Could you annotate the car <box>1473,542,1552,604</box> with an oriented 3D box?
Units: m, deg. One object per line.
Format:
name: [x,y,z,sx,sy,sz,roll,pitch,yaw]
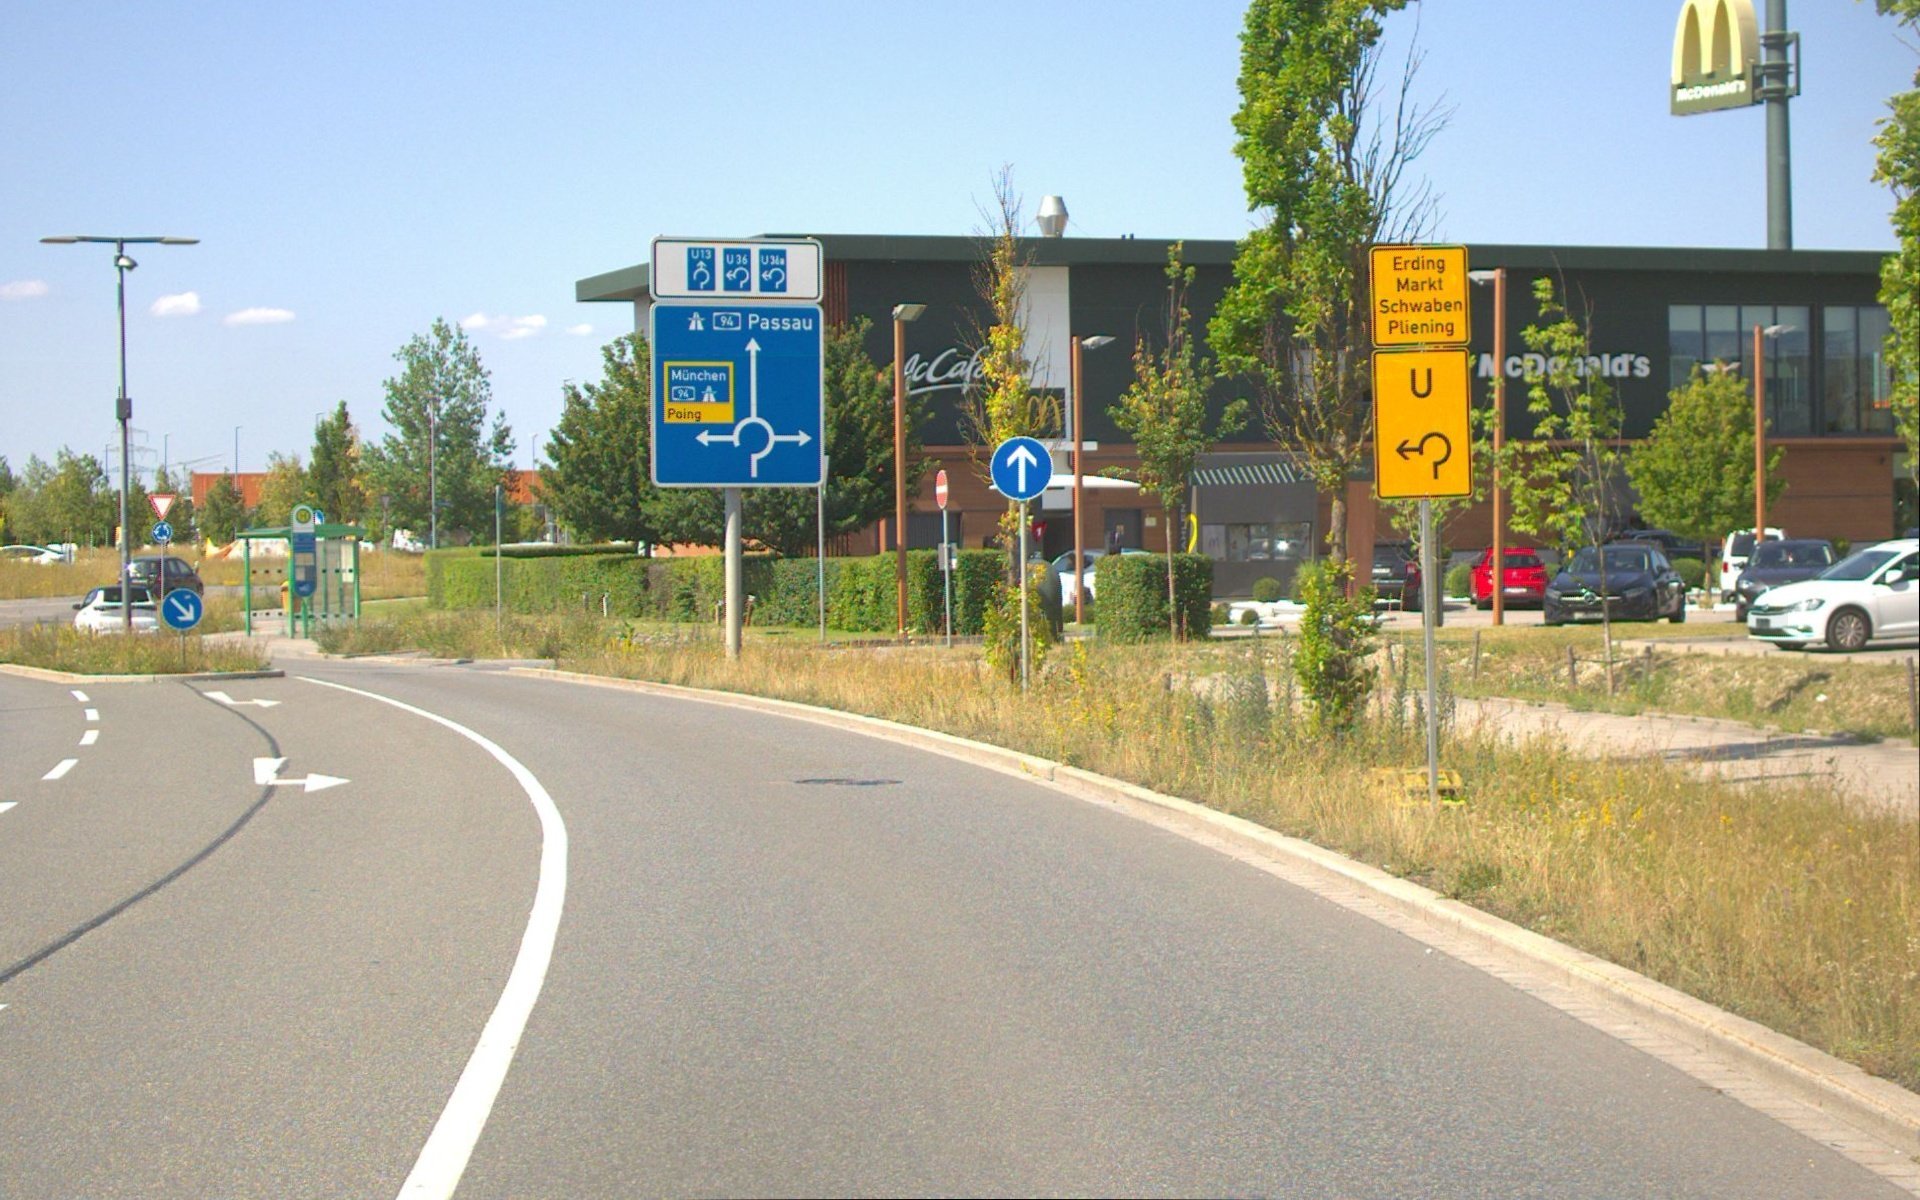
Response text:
car: [13.293,-0.663,82.877,1.793,1.429,3.999,-1,1,8]

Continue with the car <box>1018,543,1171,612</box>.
car: [2.912,-0.502,75.168,1.792,1.429,4.001,-1,1,-23]

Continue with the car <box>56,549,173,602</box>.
car: [-32.518,-0.951,132.277,3.987,2.007,1.834,-1,1,1]

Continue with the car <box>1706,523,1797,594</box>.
car: [19.748,-1.050,85.658,1.794,1.696,3.996,-1,1,19]

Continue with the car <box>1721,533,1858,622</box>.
car: [14.377,-0.417,59.448,1.787,1.457,4.165,-1,1,20]

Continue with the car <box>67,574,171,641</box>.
car: [-18.714,0.153,76.421,1.616,1.429,3.793,-1,1,-23]

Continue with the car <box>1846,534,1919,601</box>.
car: [20.621,-0.702,71.470,3.992,1.368,1.796,-1,1,24]

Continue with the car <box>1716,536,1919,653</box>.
car: [12.983,-0.115,47.640,4.524,1.485,1.869,-2,1,-15]

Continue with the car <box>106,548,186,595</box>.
car: [-25.350,-0.903,107.110,1.616,1.429,3.793,-1,1,-1]

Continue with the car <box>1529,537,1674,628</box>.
car: [10.834,-0.316,57.892,1.699,1.457,4.165,-1,1,20]

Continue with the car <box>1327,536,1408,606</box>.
car: [9.744,-0.699,81.992,1.793,1.599,3.999,-1,1,8]
